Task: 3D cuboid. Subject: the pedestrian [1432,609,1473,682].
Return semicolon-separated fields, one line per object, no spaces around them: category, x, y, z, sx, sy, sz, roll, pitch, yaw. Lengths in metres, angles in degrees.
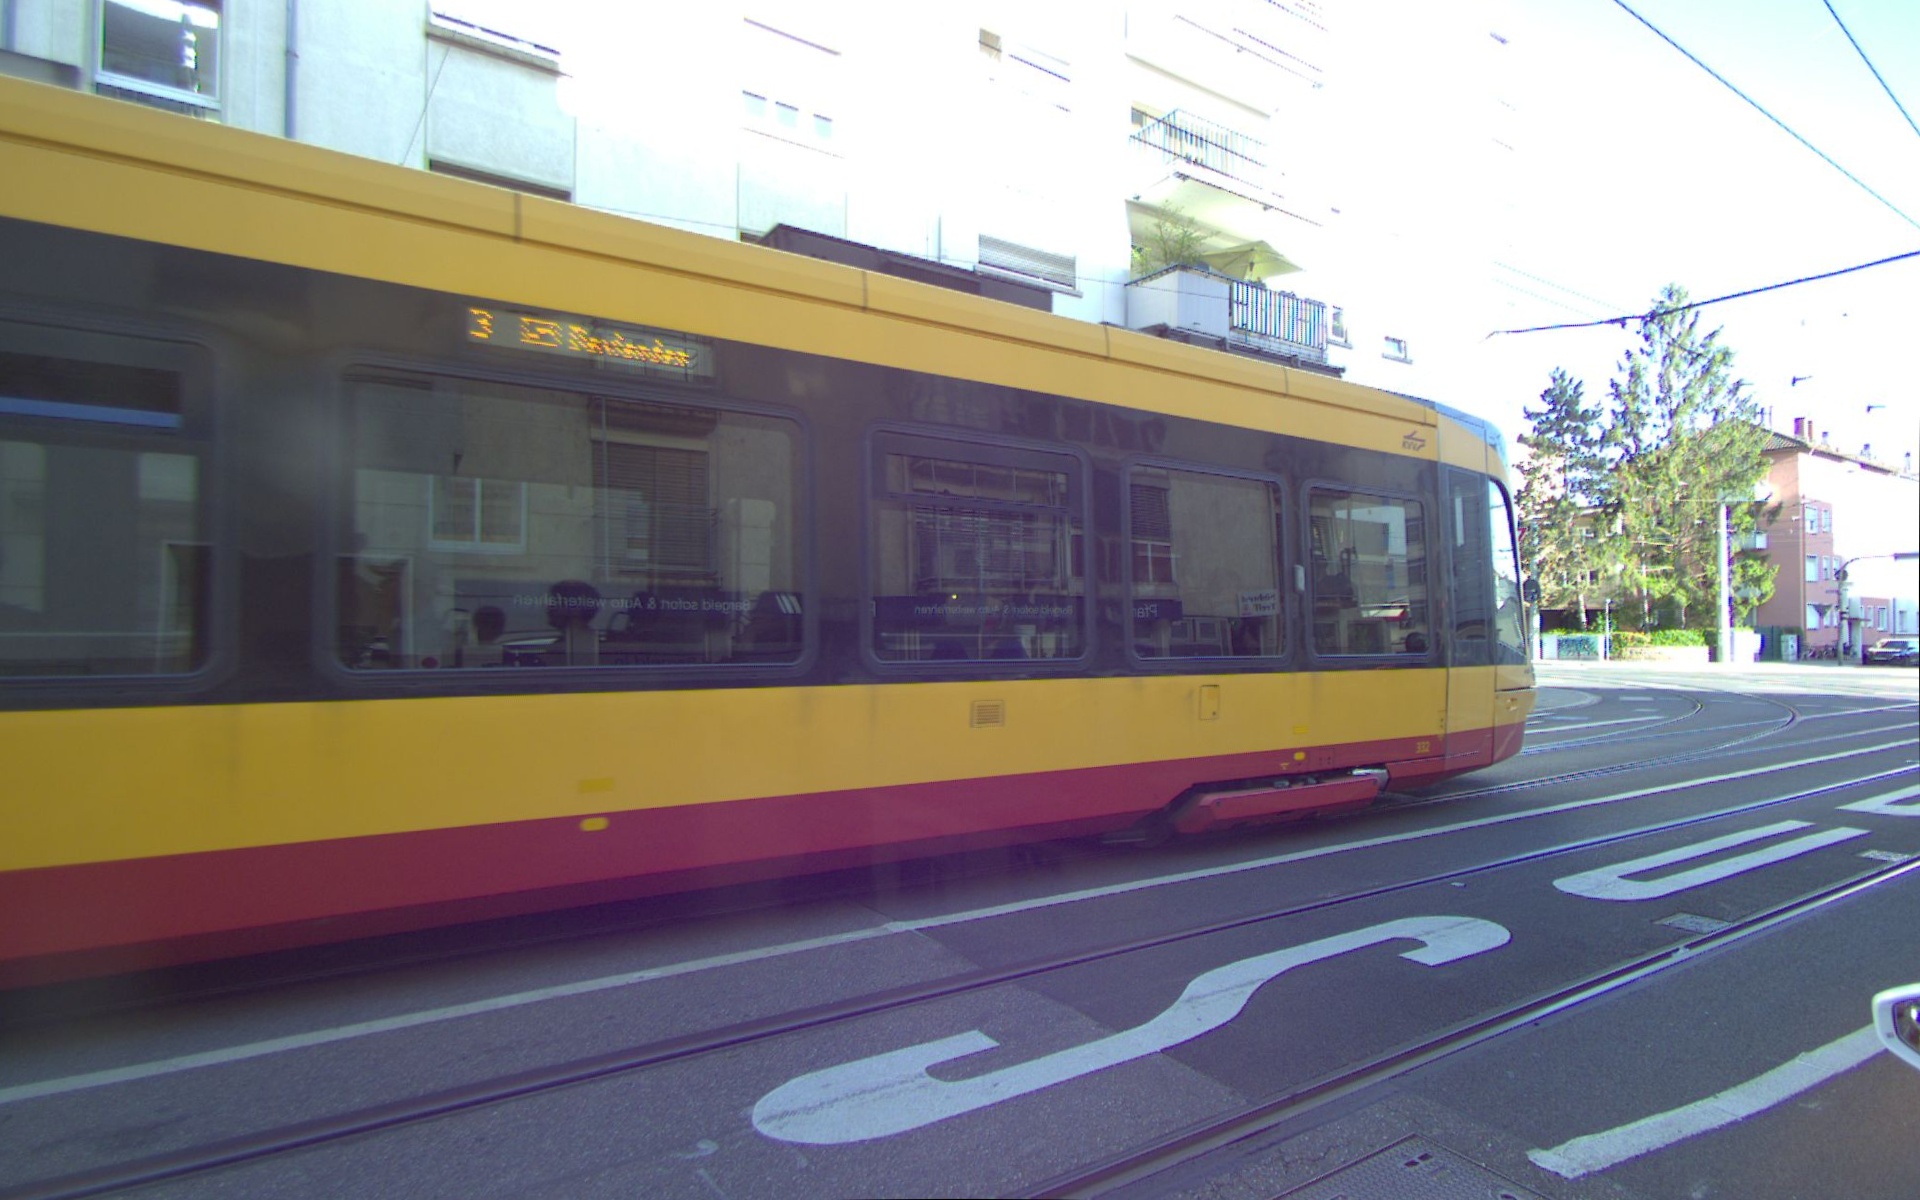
pedestrian;14.033;1.290;28.605;0.688;2.040;0.764;2;0;-35

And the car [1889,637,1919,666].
car;54.538;2.931;56.780;4.250;1.518;1.806;2;0;-30

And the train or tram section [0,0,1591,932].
train or tram section;-0.920;-0.697;6.281;14.117;3.680;2.728;2;0;-34

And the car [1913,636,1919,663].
car;58.336;2.971;59.443;4.103;1.531;1.778;2;0;-31

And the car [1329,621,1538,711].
car;9.107;1.203;19.252;4.030;1.552;1.858;1;-2;-34

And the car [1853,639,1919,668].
car;49.596;2.836;53.599;3.949;1.440;1.784;2;0;-31
